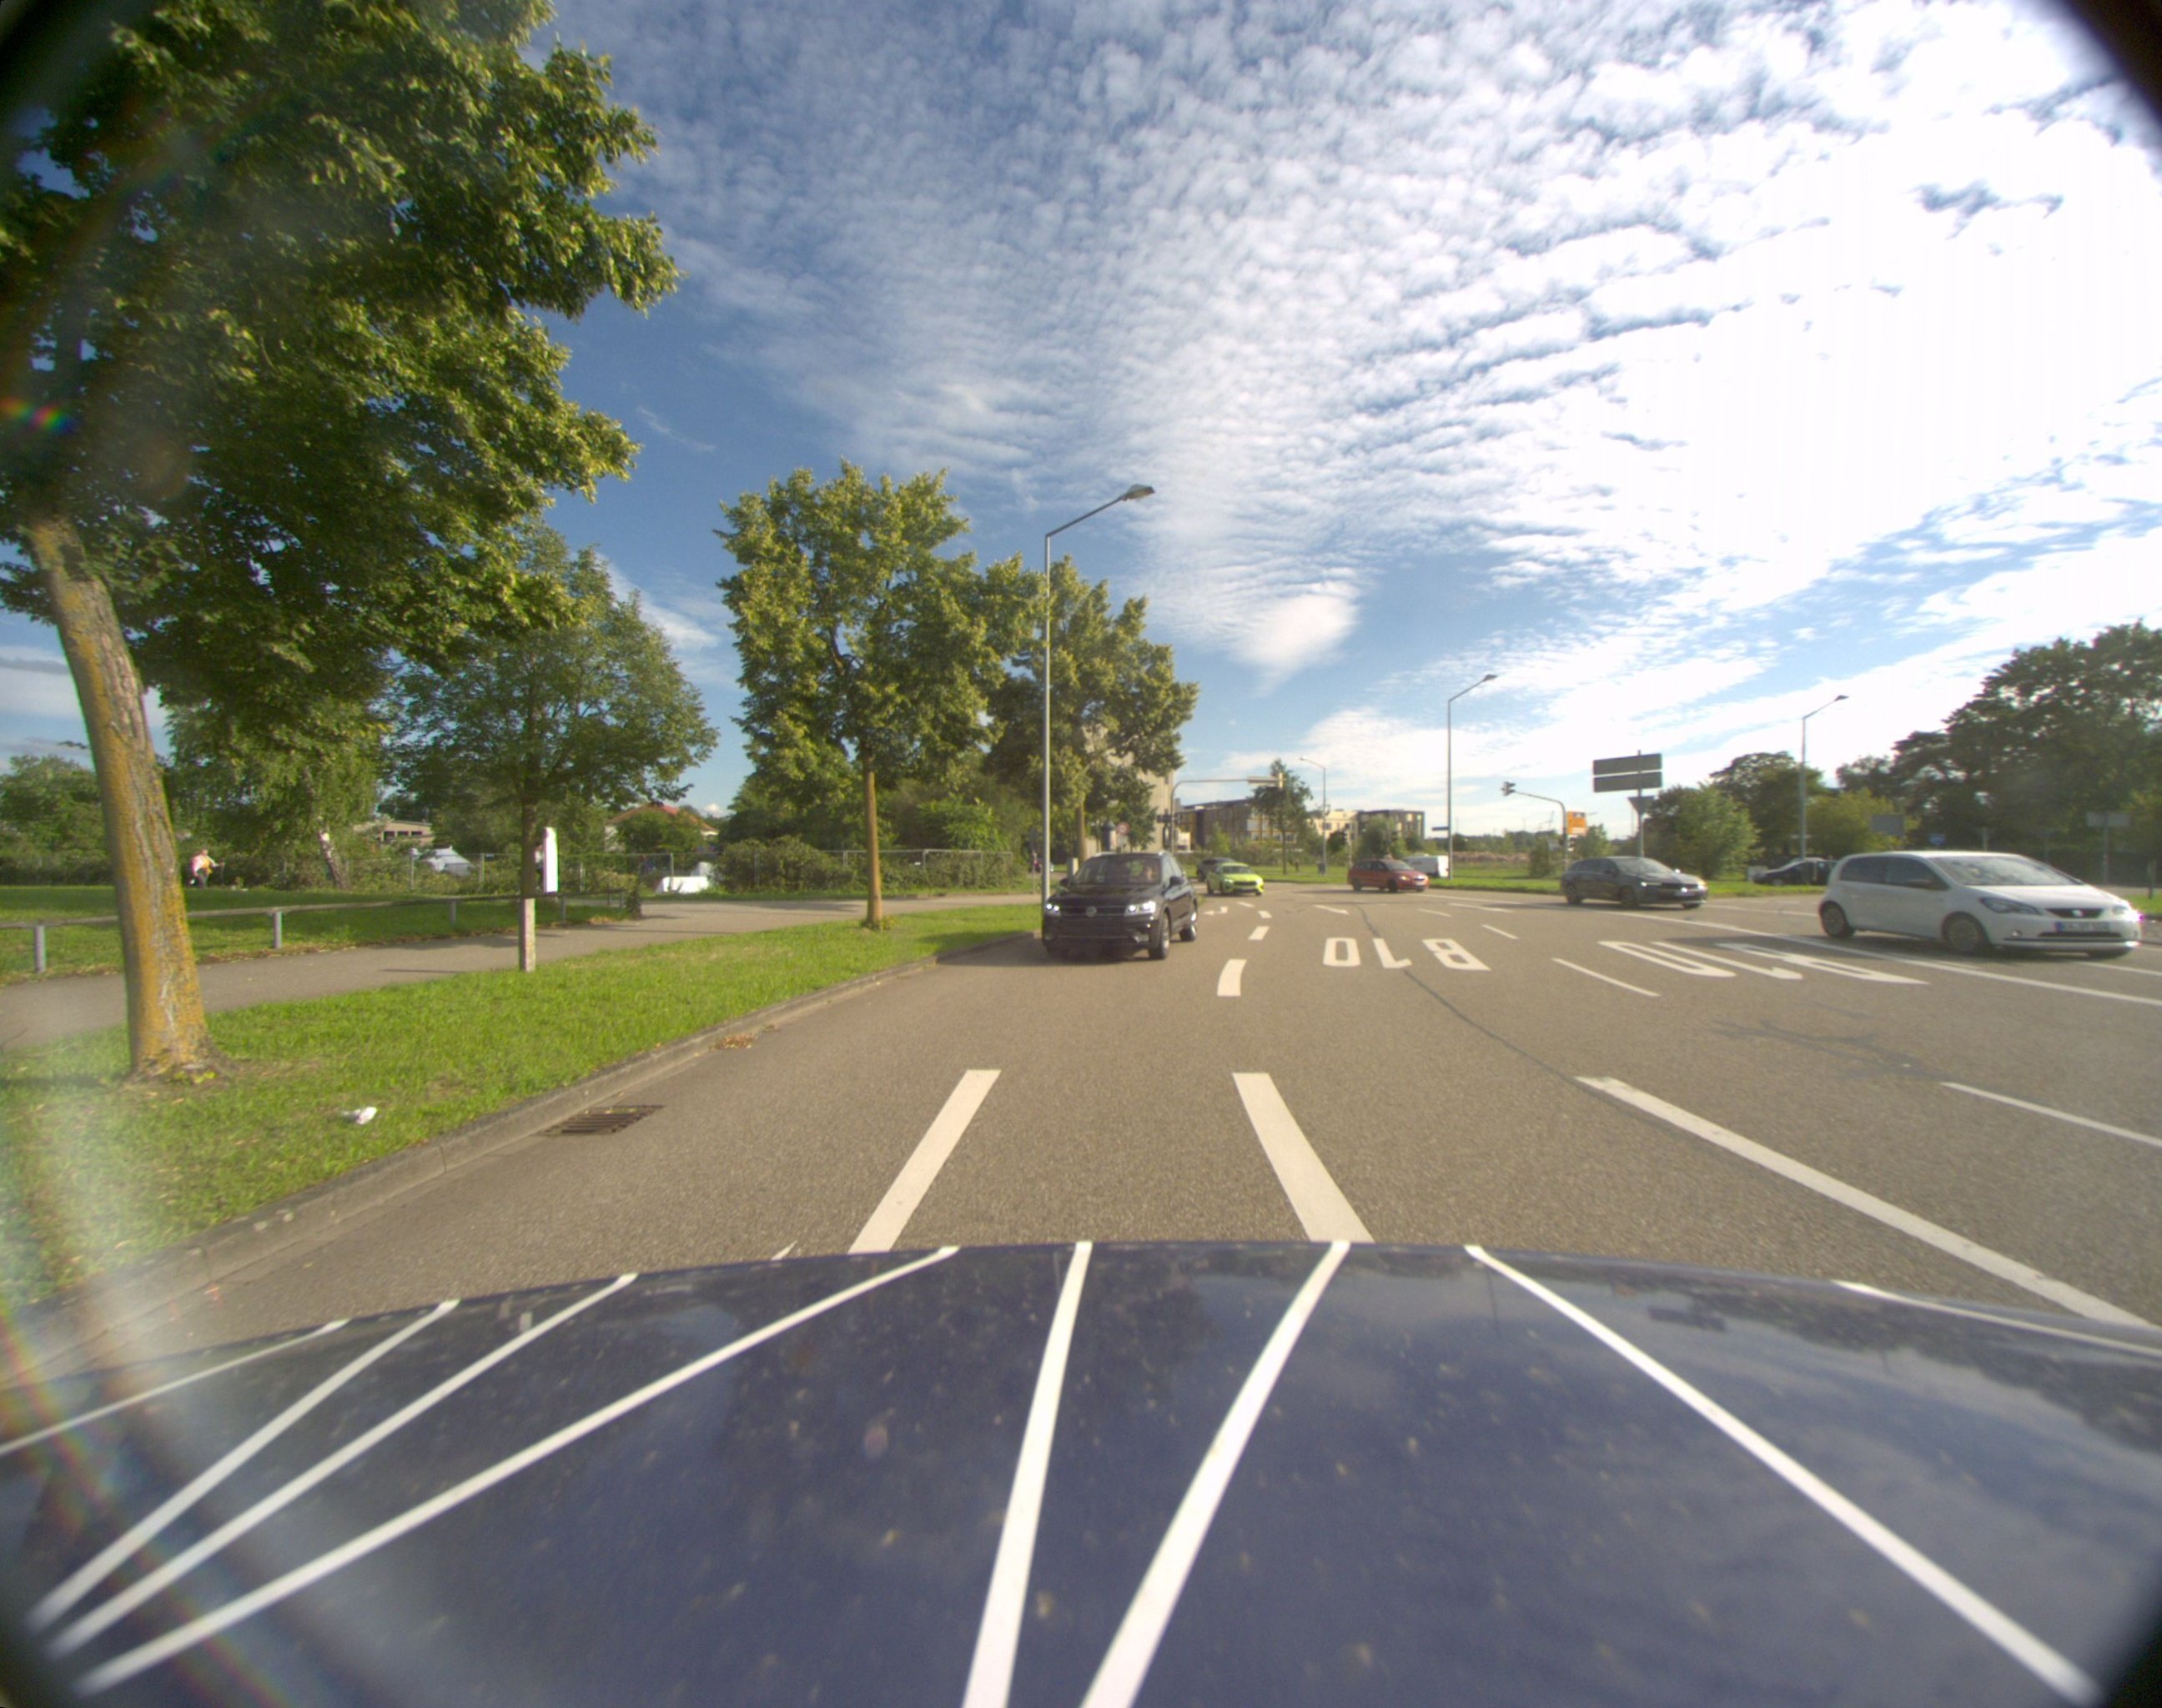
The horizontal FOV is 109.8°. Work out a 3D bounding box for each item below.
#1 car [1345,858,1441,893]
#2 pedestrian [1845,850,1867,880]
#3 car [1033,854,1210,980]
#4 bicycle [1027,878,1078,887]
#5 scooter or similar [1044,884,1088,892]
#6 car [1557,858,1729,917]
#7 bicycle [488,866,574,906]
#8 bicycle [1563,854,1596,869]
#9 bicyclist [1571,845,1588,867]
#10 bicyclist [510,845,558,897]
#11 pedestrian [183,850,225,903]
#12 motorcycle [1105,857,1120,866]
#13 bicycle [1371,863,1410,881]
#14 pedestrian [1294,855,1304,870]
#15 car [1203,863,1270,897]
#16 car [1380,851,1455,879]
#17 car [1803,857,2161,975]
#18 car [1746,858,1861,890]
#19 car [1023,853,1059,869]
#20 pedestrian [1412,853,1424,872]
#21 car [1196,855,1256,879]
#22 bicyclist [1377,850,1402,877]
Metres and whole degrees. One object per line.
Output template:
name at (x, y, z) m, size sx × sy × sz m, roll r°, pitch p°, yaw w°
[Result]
car at (14.111, 0.930, 34.580) m, size 1.696 × 1.466 × 4.220 m, roll -1°, pitch 0°, yaw -18°
pedestrian at (50.393, 0.732, 49.405) m, size 0.898 × 1.905 × 0.864 m, roll -3°, pitch 2°, yaw -38°
car at (0.940, 0.875, 13.111) m, size 1.869 × 1.685 × 5.021 m, roll 0°, pitch 1°, yaw 17°
bicycle at (-1.381, 1.388, 36.995) m, size 2.244 × 0.344 × 1.092 m, roll -3°, pitch -1°, yaw 31°
scooter or similar at (-0.676, 1.525, 34.125) m, size 1.289 × 0.279 × 1.557 m, roll 0°, pitch 0°, yaw 41°
car at (16.002, 0.893, 21.972) m, size 1.823 × 1.412 × 4.447 m, roll -1°, pitch 1°, yaw 3°
bicycle at (-16.843, 0.959, 23.272) m, size 2.595 × 1.119 × 0.805 m, roll 0°, pitch 1°, yaw 20°
bicycle at (32.638, 0.478, 49.750) m, size 1.837 × 0.982 × 0.611 m, roll 0°, pitch 0°, yaw -6°
bicyclist at (32.642, 0.119, 49.738) m, size 0.698 × 1.437 × 0.611 m, roll 1°, pitch 1°, yaw -5°
bicyclist at (-16.735, 0.507, 23.248) m, size 0.903 × 1.538 × 0.805 m, roll 0°, pitch 1°, yaw 20°
pedestrian at (-29.015, 0.728, 25.147) m, size 0.596 × 1.722 × 0.668 m, roll 0°, pitch 1°, yaw 5°
motorcycle at (3.590, 0.812, 86.249) m, size 0.786 × 0.980 × 2.019 m, roll 0°, pitch 0°, yaw -30°
bicycle at (17.937, 1.060, 44.033) m, size 1.963 × 1.001 × 1.000 m, roll 0°, pitch 0°, yaw -21°
pedestrian at (22.380, 0.859, 78.031) m, size 0.629 × 1.500 × 0.755 m, roll -4°, pitch 2°, yaw -26°
car at (7.003, 1.131, 34.692) m, size 1.896 × 1.412 × 4.607 m, roll -2°, pitch 0°, yaw -3°
car at (23.443, 0.748, 53.024) m, size 1.689 × 1.814 × 4.549 m, roll 2°, pitch -1°, yaw -35°
car at (13.220, 0.798, 11.453) m, size 1.764 × 1.455 × 3.664 m, roll -1°, pitch 0°, yaw 13°
car at (37.408, 1.016, 39.460) m, size 3.983 × 1.492 × 1.689 m, roll 1°, pitch -1°, yaw 28°
car at (-4.253, 0.700, 80.510) m, size 2.003 × 1.652 × 4.792 m, roll 0°, pitch 1°, yaw -27°
pedestrian at (28.288, 0.714, 63.859) m, size 0.629 × 1.620 × 0.656 m, roll -2°, pitch 1°, yaw -23°
car at (9.504, 0.821, 50.103) m, size 1.697 × 1.466 × 4.218 m, roll -1°, pitch 0°, yaw -26°
bicyclist at (17.881, 0.532, 44.040) m, size 0.867 × 1.547 × 0.996 m, roll 0°, pitch 1°, yaw -20°
